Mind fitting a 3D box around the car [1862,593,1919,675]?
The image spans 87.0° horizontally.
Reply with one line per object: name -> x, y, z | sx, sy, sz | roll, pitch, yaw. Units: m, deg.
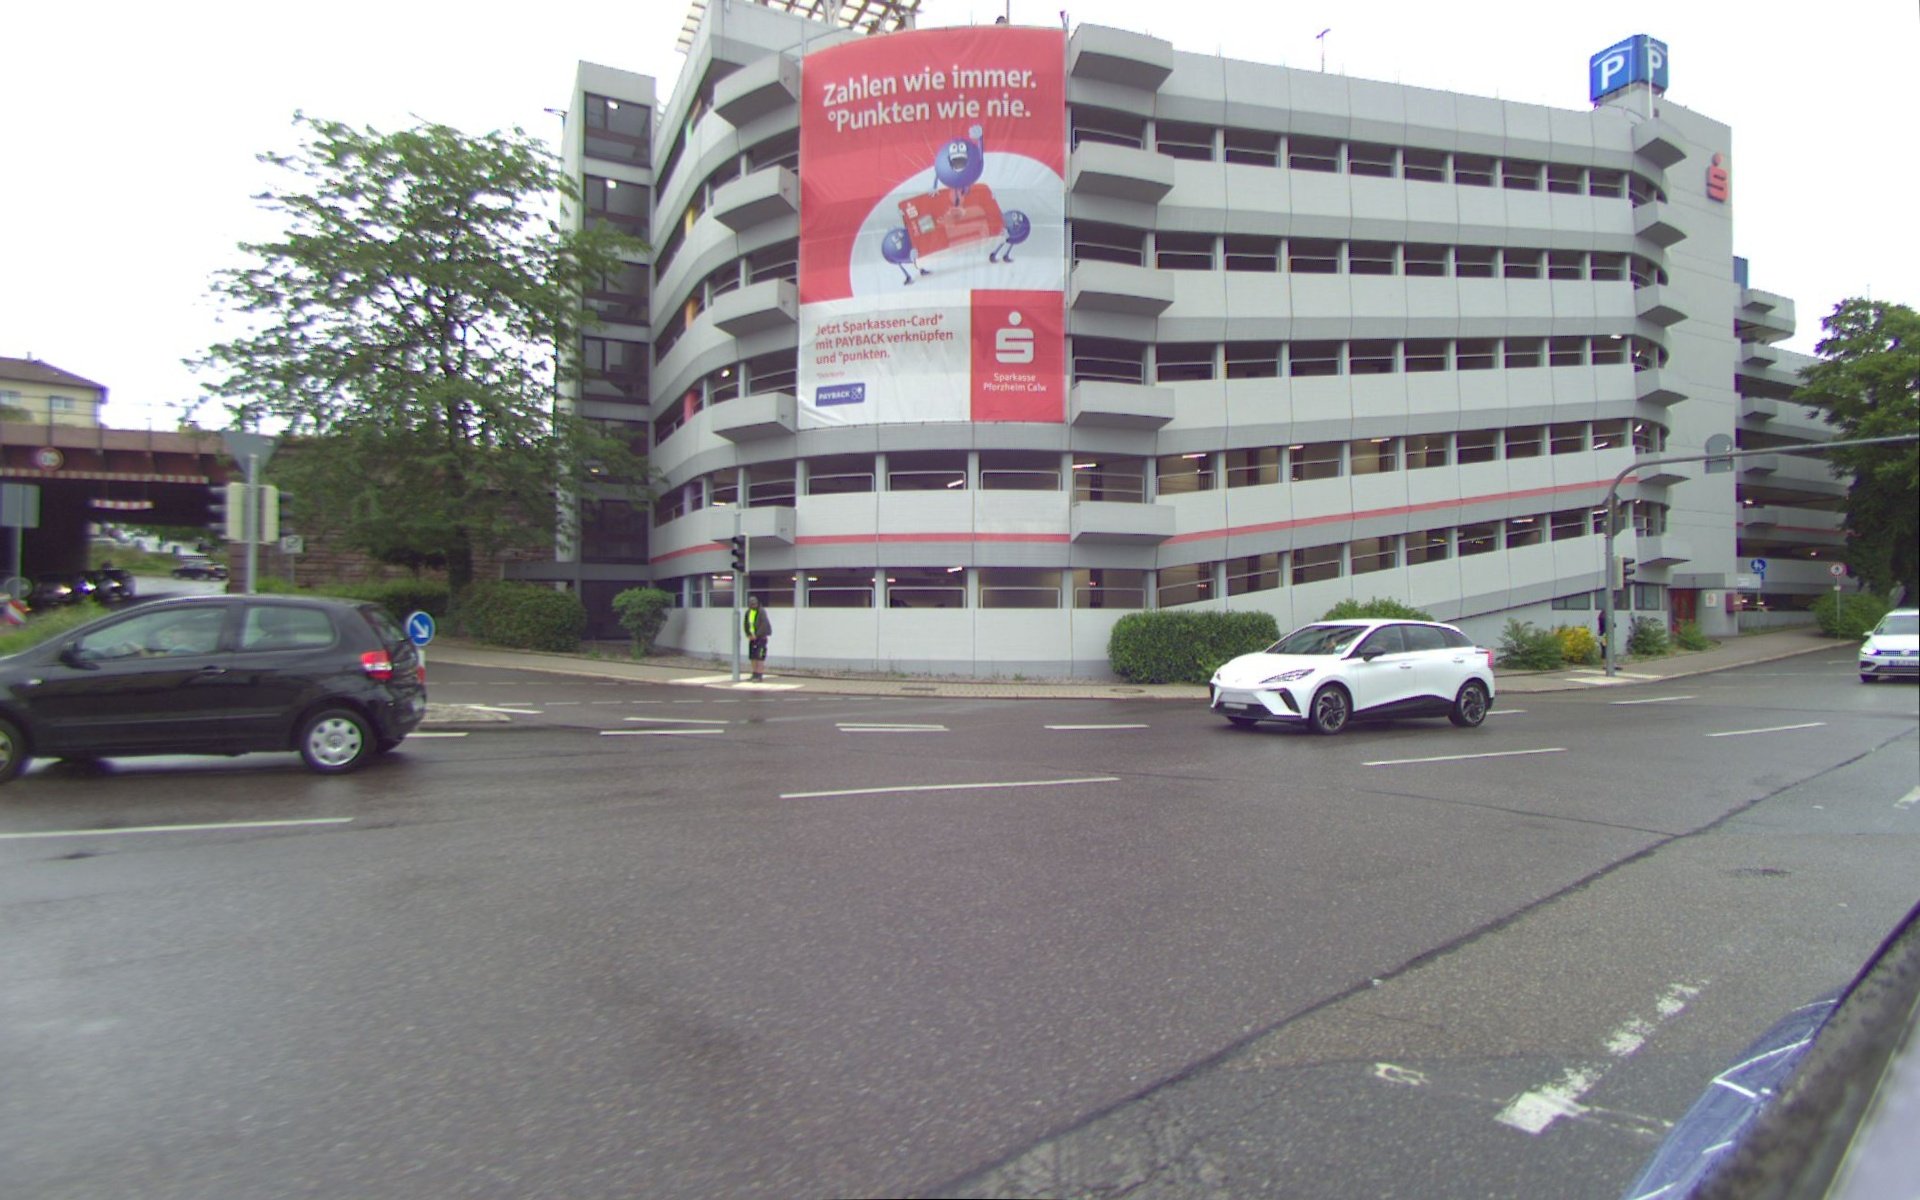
car -> 22.199, 0.752, 22.696 | 4.315, 1.748, 2.000 | 1, -1, -35

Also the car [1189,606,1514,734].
car -> 5.436, 0.897, 14.037 | 4.122, 1.497, 1.808 | -1, -2, -25

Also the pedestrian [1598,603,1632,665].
pedestrian -> 18.260, 0.929, 28.226 | 0.508, 1.680, 0.586 | -1, 2, -24

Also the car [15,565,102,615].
car -> -39.869, -0.431, 44.855 | 1.959, 2.039, 4.004 | -1, -1, -28

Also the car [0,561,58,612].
car -> -37.089, -0.498, 39.344 | 1.959, 1.806, 4.005 | -1, -1, -25

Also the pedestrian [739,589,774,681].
pedestrian -> -4.371, 0.738, 21.711 | 0.536, 1.913, 0.506 | 2, 1, 9

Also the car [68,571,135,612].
car -> -46.368, -0.439, 54.736 | 1.959, 2.039, 4.004 | -1, -1, -28

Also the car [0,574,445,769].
car -> -6.744, 0.594, 8.961 | 3.666, 1.512, 1.681 | 1, -3, -19

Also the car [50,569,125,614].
car -> -42.972, -0.381, 49.957 | 1.959, 2.039, 4.004 | -1, -1, -28
